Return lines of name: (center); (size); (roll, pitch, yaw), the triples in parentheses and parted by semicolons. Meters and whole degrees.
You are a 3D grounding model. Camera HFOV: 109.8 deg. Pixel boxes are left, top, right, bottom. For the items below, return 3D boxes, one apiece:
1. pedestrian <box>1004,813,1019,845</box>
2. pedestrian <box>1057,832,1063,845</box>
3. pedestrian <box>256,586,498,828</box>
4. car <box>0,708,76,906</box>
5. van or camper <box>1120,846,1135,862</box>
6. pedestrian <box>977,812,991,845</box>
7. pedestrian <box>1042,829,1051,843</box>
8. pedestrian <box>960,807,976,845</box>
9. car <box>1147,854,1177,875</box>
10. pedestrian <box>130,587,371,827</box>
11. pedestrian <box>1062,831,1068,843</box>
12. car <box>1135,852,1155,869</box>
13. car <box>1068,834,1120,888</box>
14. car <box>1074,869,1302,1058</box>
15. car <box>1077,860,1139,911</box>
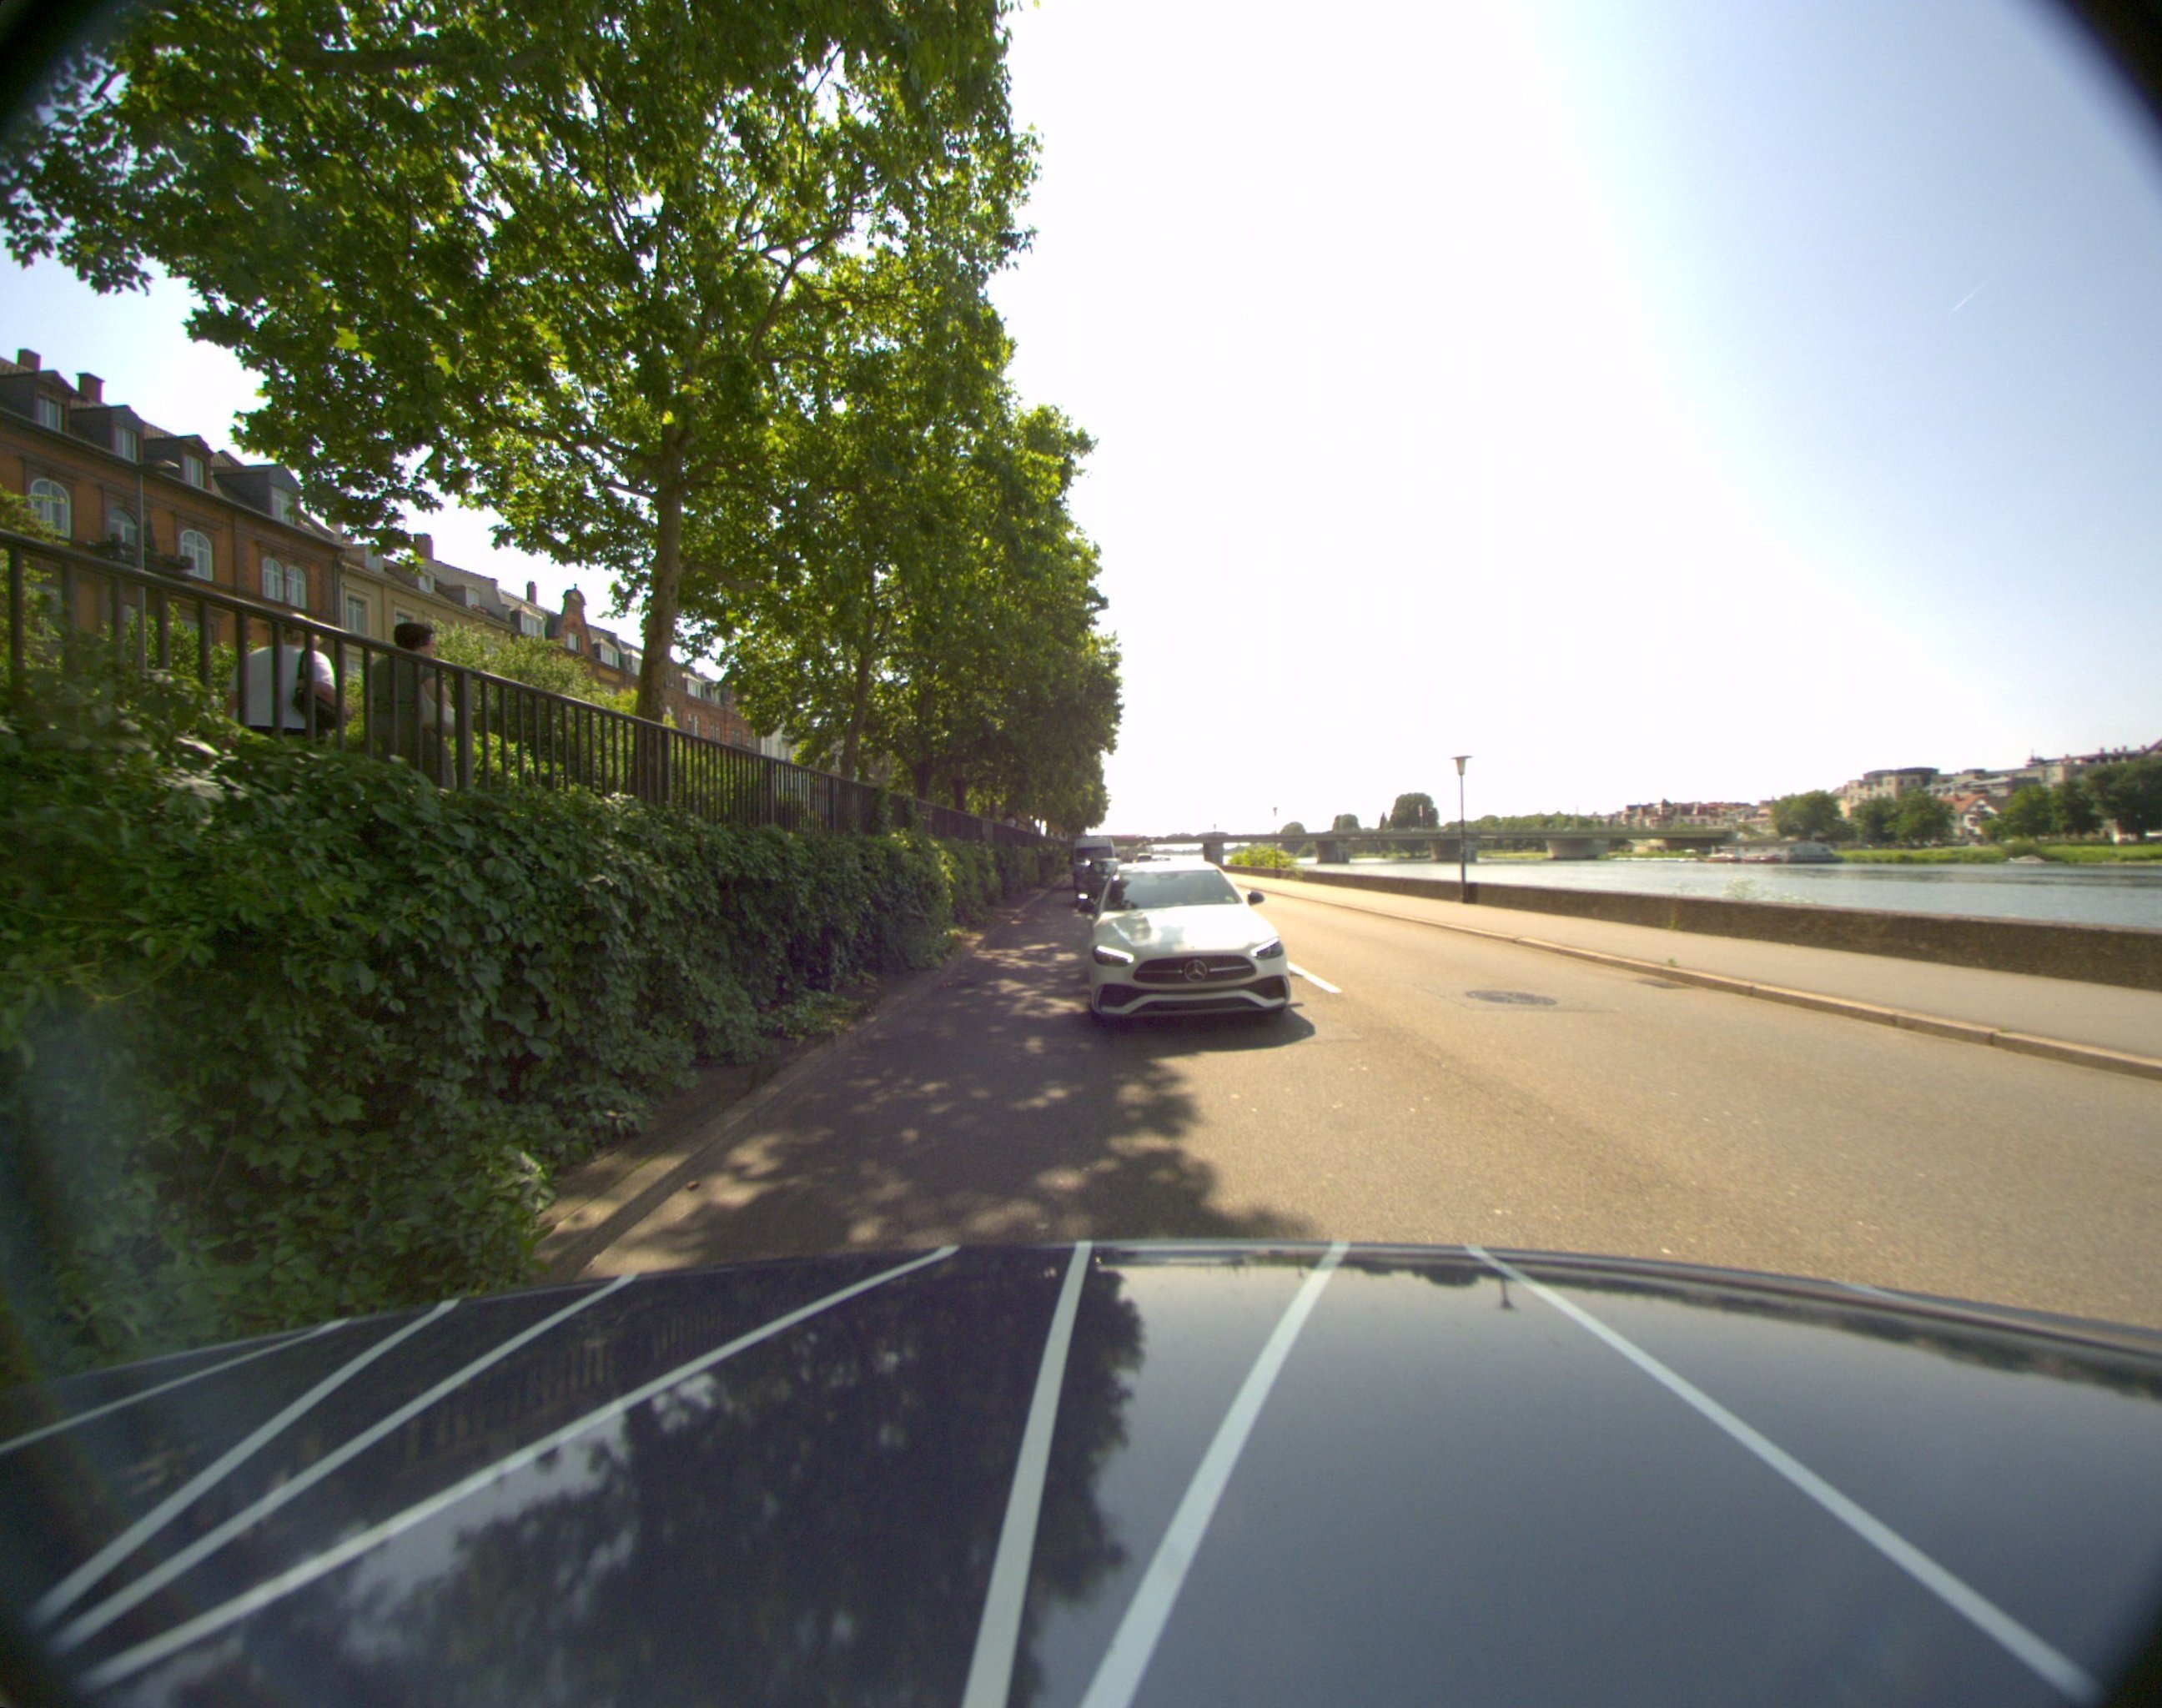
pedestrian: (-3.393, -1.221, 37.217); (0.666, 1.582, 0.651); (0, 1, 1)
pedestrian: (-2.520, -1.855, 90.662); (0.738, 1.582, 0.811); (0, 1, 1)
pedestrian: (-4.405, -0.865, 4.822); (0.755, 1.358, 0.814); (2, 1, -1)
car: (-8.531, -0.342, 4.593); (3.528, 1.228, 1.515); (2, 0, 10)
van or camper: (7.231, 0.022, 117.939); (2.082, 2.384, 5.385); (0, 0, 1)
pedestrian: (-4.288, -1.108, 33.497); (0.586, 1.411, 0.589); (-1, 1, -7)
pedestrian: (-3.108, -1.580, 68.104); (0.713, 1.236, 0.742); (-1, 1, 0)
pedestrian: (-4.984, -1.233, 33.419); (0.649, 1.630, 0.626); (-1, 1, -7)
car: (5.824, 0.747, 55.193); (1.736, 1.433, 4.045); (0, 0, 0)
pedestrian: (-5.233, -0.874, 4.846); (0.645, 1.358, 0.794); (2, 1, -1)
pedestrian: (-2.117, -2.278, 100.641); (0.666, 1.582, 0.765); (0, 1, 1)
car: (6.628, 0.675, 78.827); (1.736, 1.640, 4.177); (1, 0, 0)
car: (0.624, 0.319, 37.665); (2.351, 2.428, 6.208); (-1, 0, 0)
car: (0.931, 0.948, 8.540); (1.830, 1.411, 4.552); (-2, 0, 1)
car: (0.774, 0.923, 24.125); (1.756, 1.385, 4.619); (-1, 0, 0)
